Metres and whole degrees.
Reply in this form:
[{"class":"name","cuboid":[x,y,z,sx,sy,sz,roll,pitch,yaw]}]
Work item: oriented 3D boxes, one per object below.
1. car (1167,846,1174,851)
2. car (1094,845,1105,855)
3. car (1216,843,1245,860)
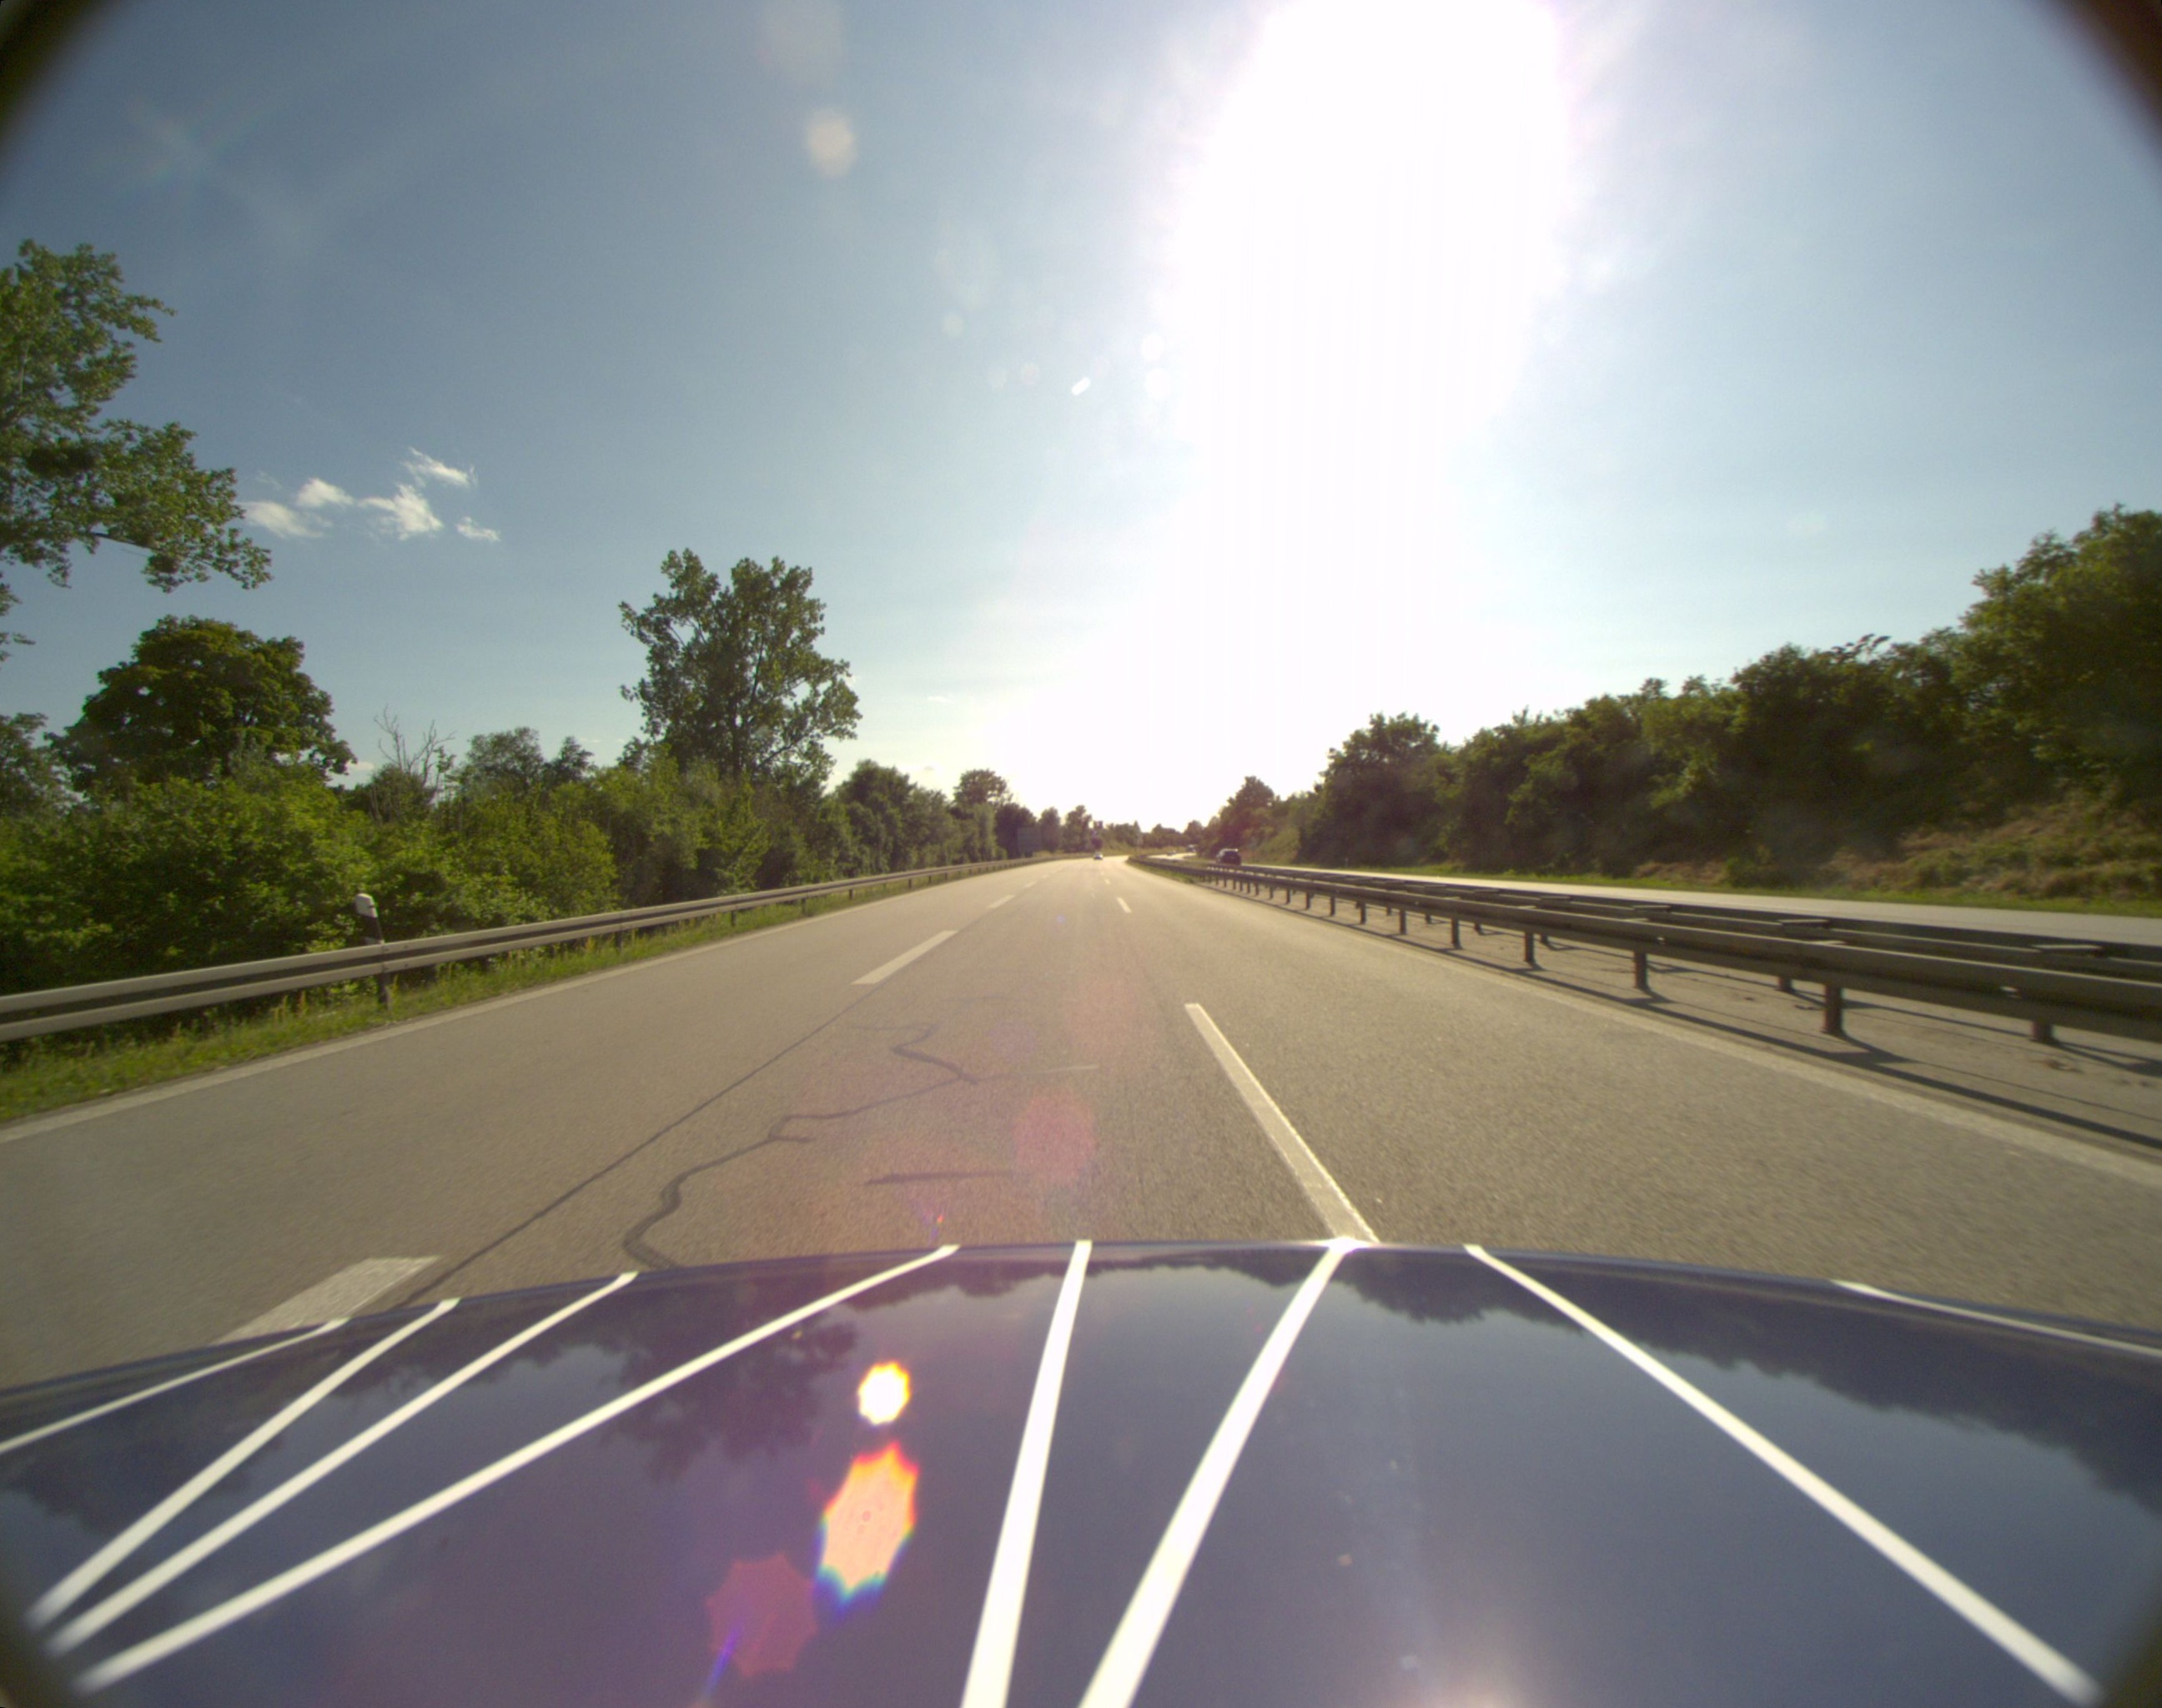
[{"class":"car","cuboid":[29.359,-1.860,248.779,1.844,1.430,4.413,0,0,2]},{"class":"car","cuboid":[3.741,-0.768,152.942,1.998,2.002,4.600,-1,1,5]},{"class":"car","cuboid":[14.878,-0.258,75.938,1.998,1.635,5.082,0,1,1]}]
